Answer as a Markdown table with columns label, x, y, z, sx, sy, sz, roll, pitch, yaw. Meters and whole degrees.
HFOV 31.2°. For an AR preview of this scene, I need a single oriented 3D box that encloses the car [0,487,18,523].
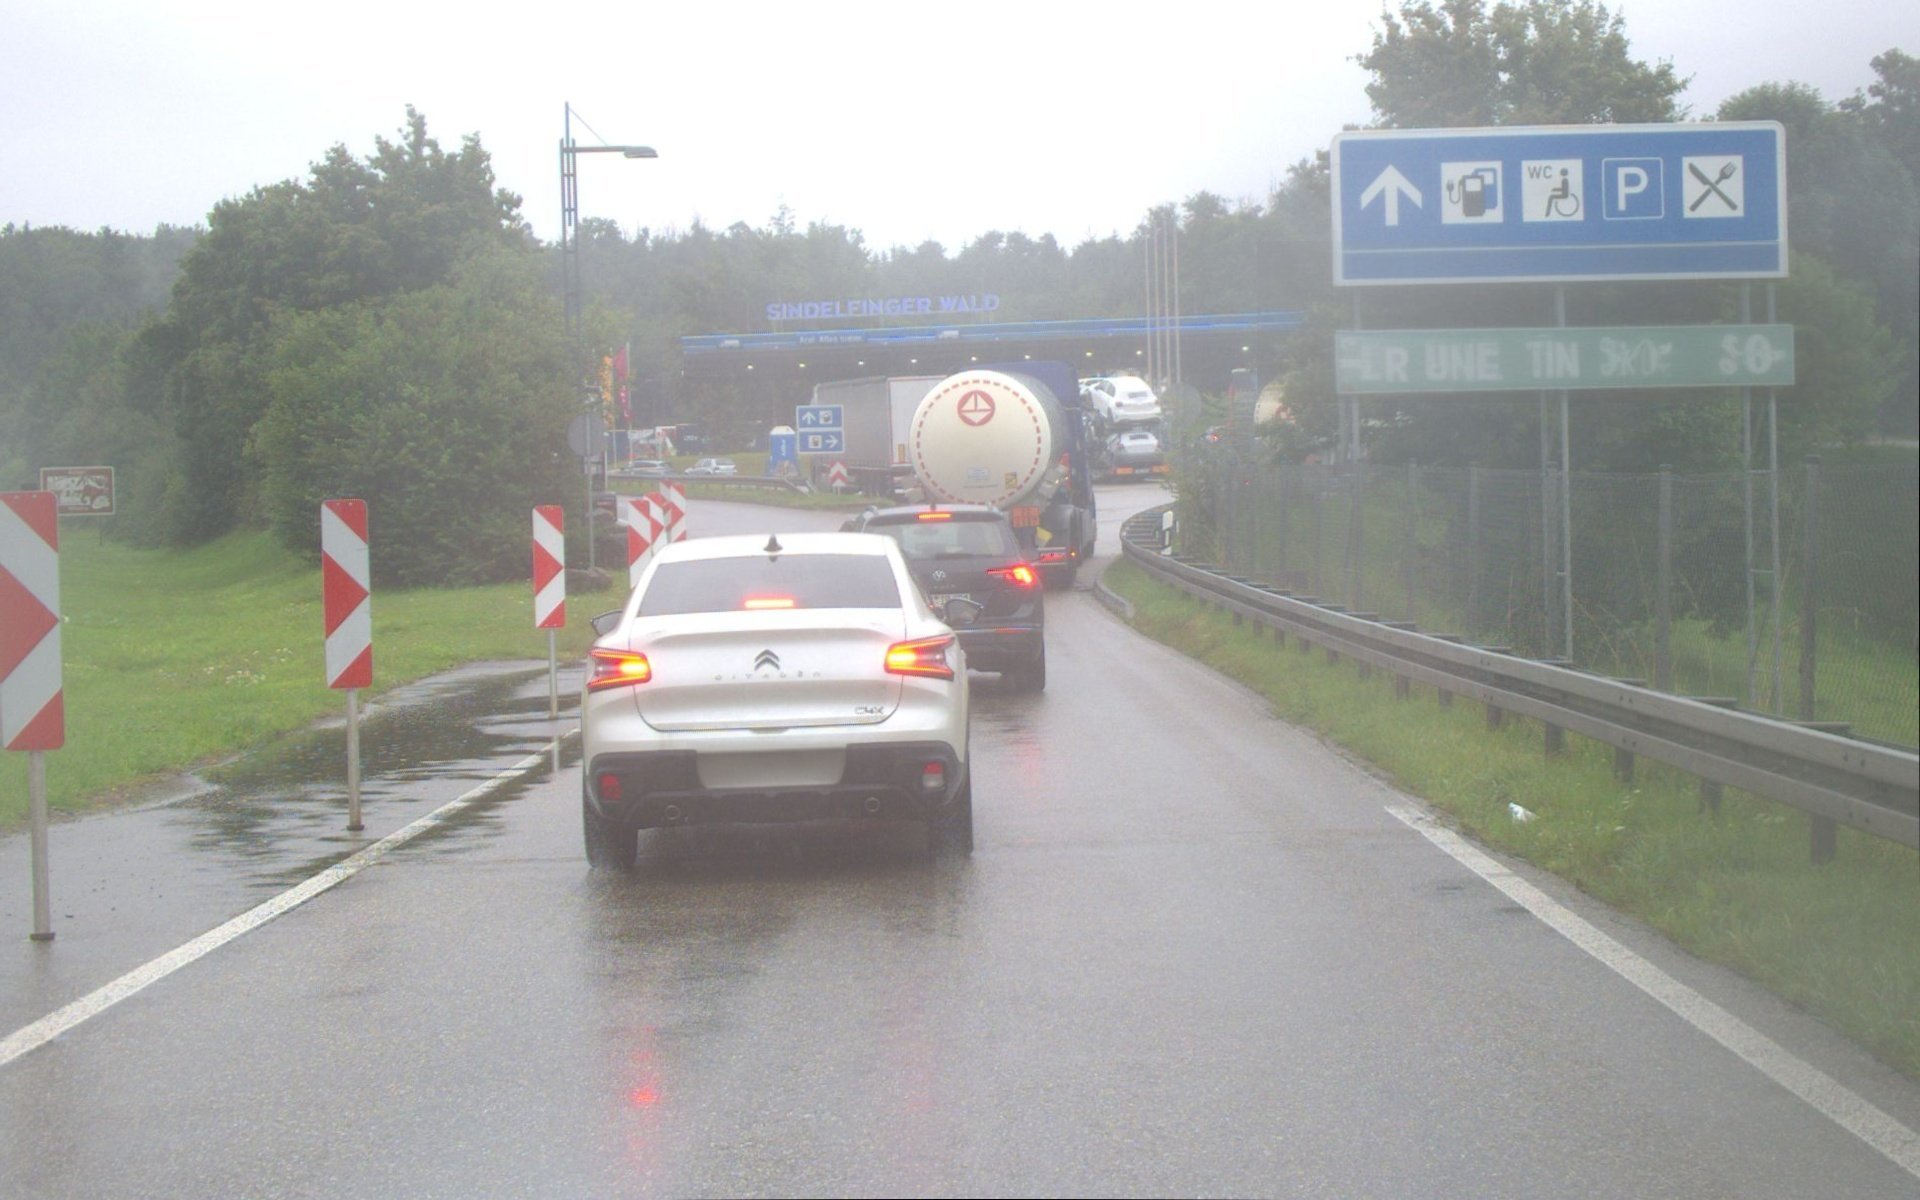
| label | x | y | z | sx | sy | sz | roll | pitch | yaw |
| --- | --- | --- | --- | --- | --- | --- | --- | --- | --- |
| car | -54.587 | -5.400 | 194.789 | 1.993 | 2.007 | 4.001 | 0 | 1 | -20 |

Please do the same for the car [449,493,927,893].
| label | x | y | z | sx | sy | sz | roll | pitch | yaw |
| --- | --- | --- | --- | --- | --- | --- | --- | --- | --- |
| car | -1.208 | 0.339 | 16.402 | 1.993 | 1.673 | 4.001 | 0 | 1 | -2 |

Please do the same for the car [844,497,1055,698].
| label | x | y | z | sx | sy | sz | roll | pitch | yaw |
| --- | --- | --- | --- | --- | --- | --- | --- | --- | --- |
| car | -0.102 | -0.060 | 30.543 | 1.742 | 1.661 | 4.000 | 0 | 1 | 0 |

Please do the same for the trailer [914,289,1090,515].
| label | x | y | z | sx | sy | sz | roll | pitch | yaw |
| --- | --- | --- | --- | --- | --- | --- | --- | --- | --- |
| trailer | 0.802 | -3.149 | 54.991 | 1.980 | 3.213 | 10.321 | -2 | 3 | 5 |

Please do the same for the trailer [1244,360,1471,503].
| label | x | y | z | sx | sy | sz | roll | pitch | yaw |
| --- | --- | --- | --- | --- | --- | --- | --- | --- | --- |
| trailer | 10.498 | -4.474 | 89.683 | 2.134 | 3.428 | 10.239 | -1 | 3 | 28 |

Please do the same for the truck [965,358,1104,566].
| label | x | y | z | sx | sy | sz | roll | pitch | yaw |
| --- | --- | --- | --- | --- | --- | --- | --- | --- | --- |
| truck | 1.385 | -2.506 | 61.527 | 2.053 | 3.518 | 4.746 | -1 | 3 | 6 |

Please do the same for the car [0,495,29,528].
| label | x | y | z | sx | sy | sz | roll | pitch | yaw |
| --- | --- | --- | --- | --- | --- | --- | --- | --- | --- |
| car | -59.141 | -5.504 | 214.028 | 1.993 | 2.007 | 4.001 | 0 | 1 | -20 |

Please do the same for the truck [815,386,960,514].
| label | x | y | z | sx | sy | sz | roll | pitch | yaw |
| --- | --- | --- | --- | --- | --- | --- | --- | --- | --- |
| truck | -2.498 | -4.967 | 112.777 | 2.370 | 3.860 | 12.460 | -3 | 3 | -11 |

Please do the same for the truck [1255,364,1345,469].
| label | x | y | z | sx | sy | sz | roll | pitch | yaw |
| --- | --- | --- | --- | --- | --- | --- | --- | --- | --- |
| truck | 12.853 | -6.976 | 130.238 | 2.425 | 3.792 | 4.002 | -3 | 4 | -7 |

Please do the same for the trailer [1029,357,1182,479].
| label | x | y | z | sx | sy | sz | roll | pitch | yaw |
| --- | --- | --- | --- | --- | --- | --- | --- | --- | --- |
| trailer | 5.164 | -6.618 | 124.875 | 3.215 | 4.174 | 11.534 | -2 | 3 | -9 |
